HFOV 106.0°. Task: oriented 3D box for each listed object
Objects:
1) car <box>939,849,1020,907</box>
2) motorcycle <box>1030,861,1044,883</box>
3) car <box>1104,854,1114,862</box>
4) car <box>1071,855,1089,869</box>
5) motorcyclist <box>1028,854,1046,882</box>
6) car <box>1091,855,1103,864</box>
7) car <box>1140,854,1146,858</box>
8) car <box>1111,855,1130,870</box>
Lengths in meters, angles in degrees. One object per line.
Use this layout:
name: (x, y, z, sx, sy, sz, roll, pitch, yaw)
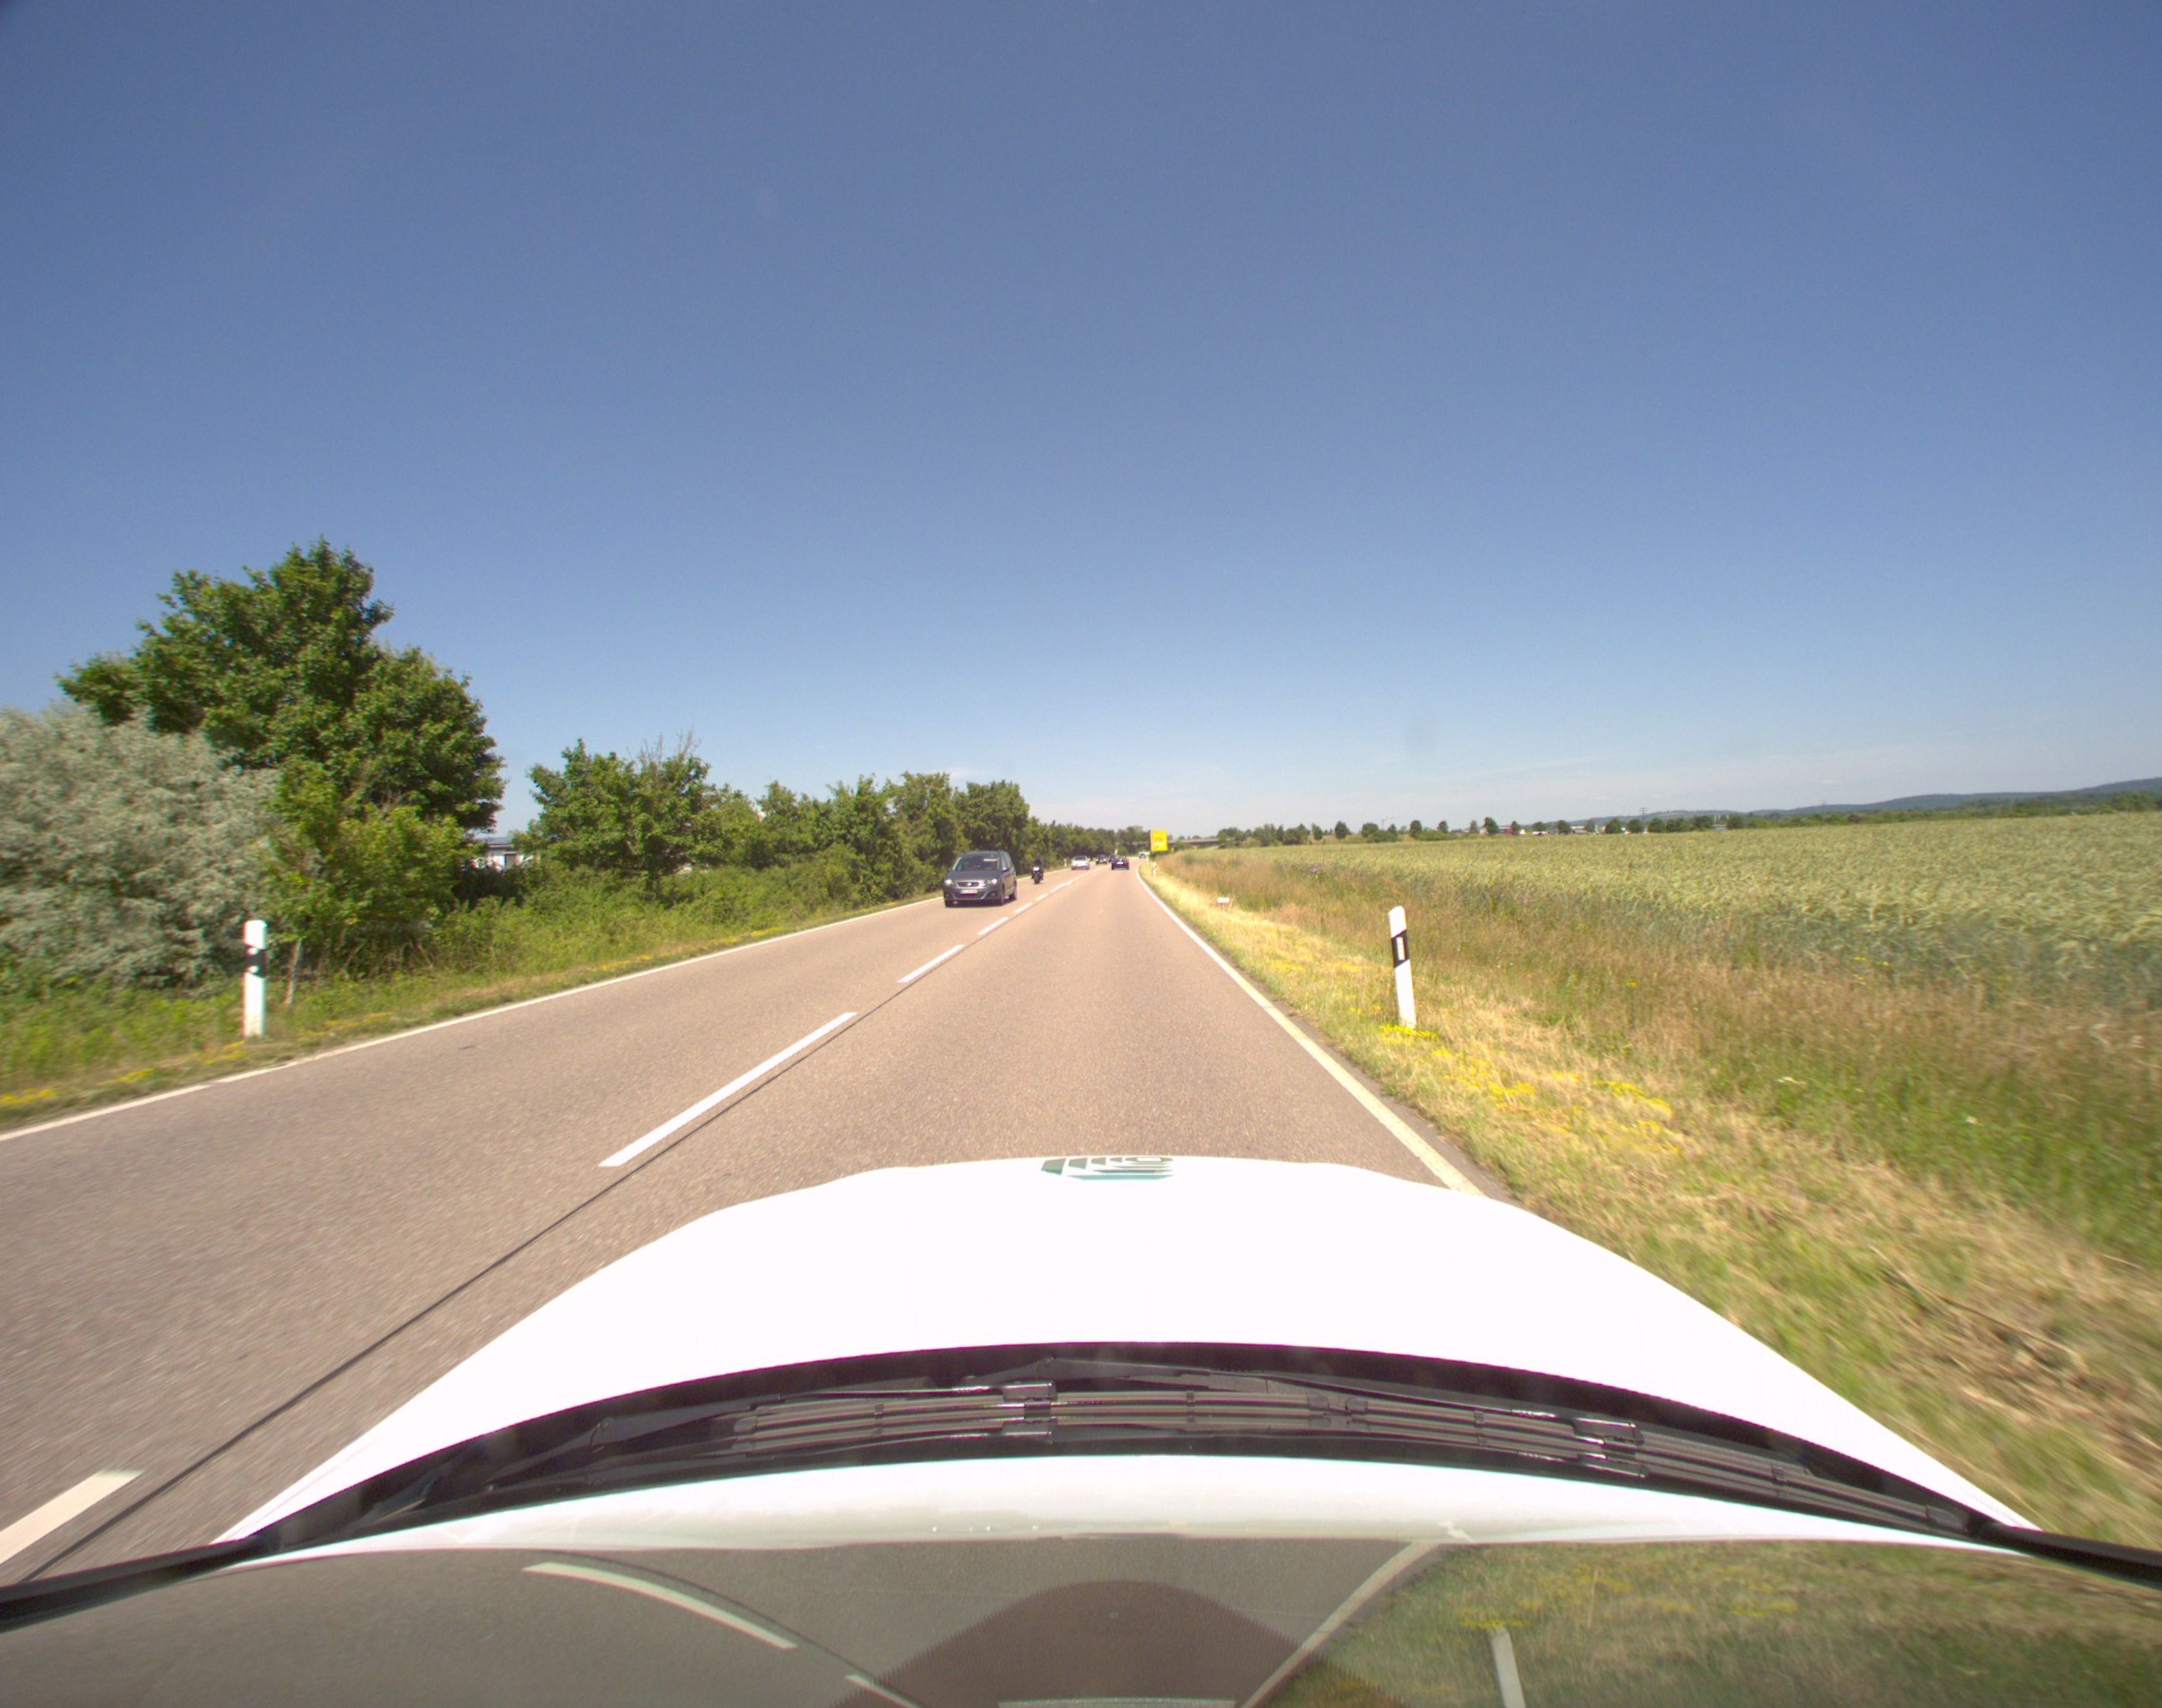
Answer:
car: (-3.203, 0.702, 26.601, 1.811, 1.701, 5.004, -1, 0, 2)
motorcycle: (-2.402, 0.971, 44.385, 0.615, 1.108, 2.022, -1, 0, 0)
car: (5.008, 0.738, 145.868, 1.644, 1.407, 4.006, -1, 0, 5)
car: (-0.085, 0.832, 84.924, 1.700, 1.381, 3.822, -2, 0, 3)
motorcyclist: (-2.364, 0.746, 44.281, 0.832, 1.474, 1.817, -1, 0, 0)
car: (2.474, 0.836, 123.698, 1.591, 1.442, 4.003, -1, 0, 3)
car: (18.670, 0.589, 246.256, 1.773, 1.420, 4.540, -1, 0, 5)
car: (3.975, 0.805, 82.048, 1.806, 1.441, 4.004, -1, 0, 4)
